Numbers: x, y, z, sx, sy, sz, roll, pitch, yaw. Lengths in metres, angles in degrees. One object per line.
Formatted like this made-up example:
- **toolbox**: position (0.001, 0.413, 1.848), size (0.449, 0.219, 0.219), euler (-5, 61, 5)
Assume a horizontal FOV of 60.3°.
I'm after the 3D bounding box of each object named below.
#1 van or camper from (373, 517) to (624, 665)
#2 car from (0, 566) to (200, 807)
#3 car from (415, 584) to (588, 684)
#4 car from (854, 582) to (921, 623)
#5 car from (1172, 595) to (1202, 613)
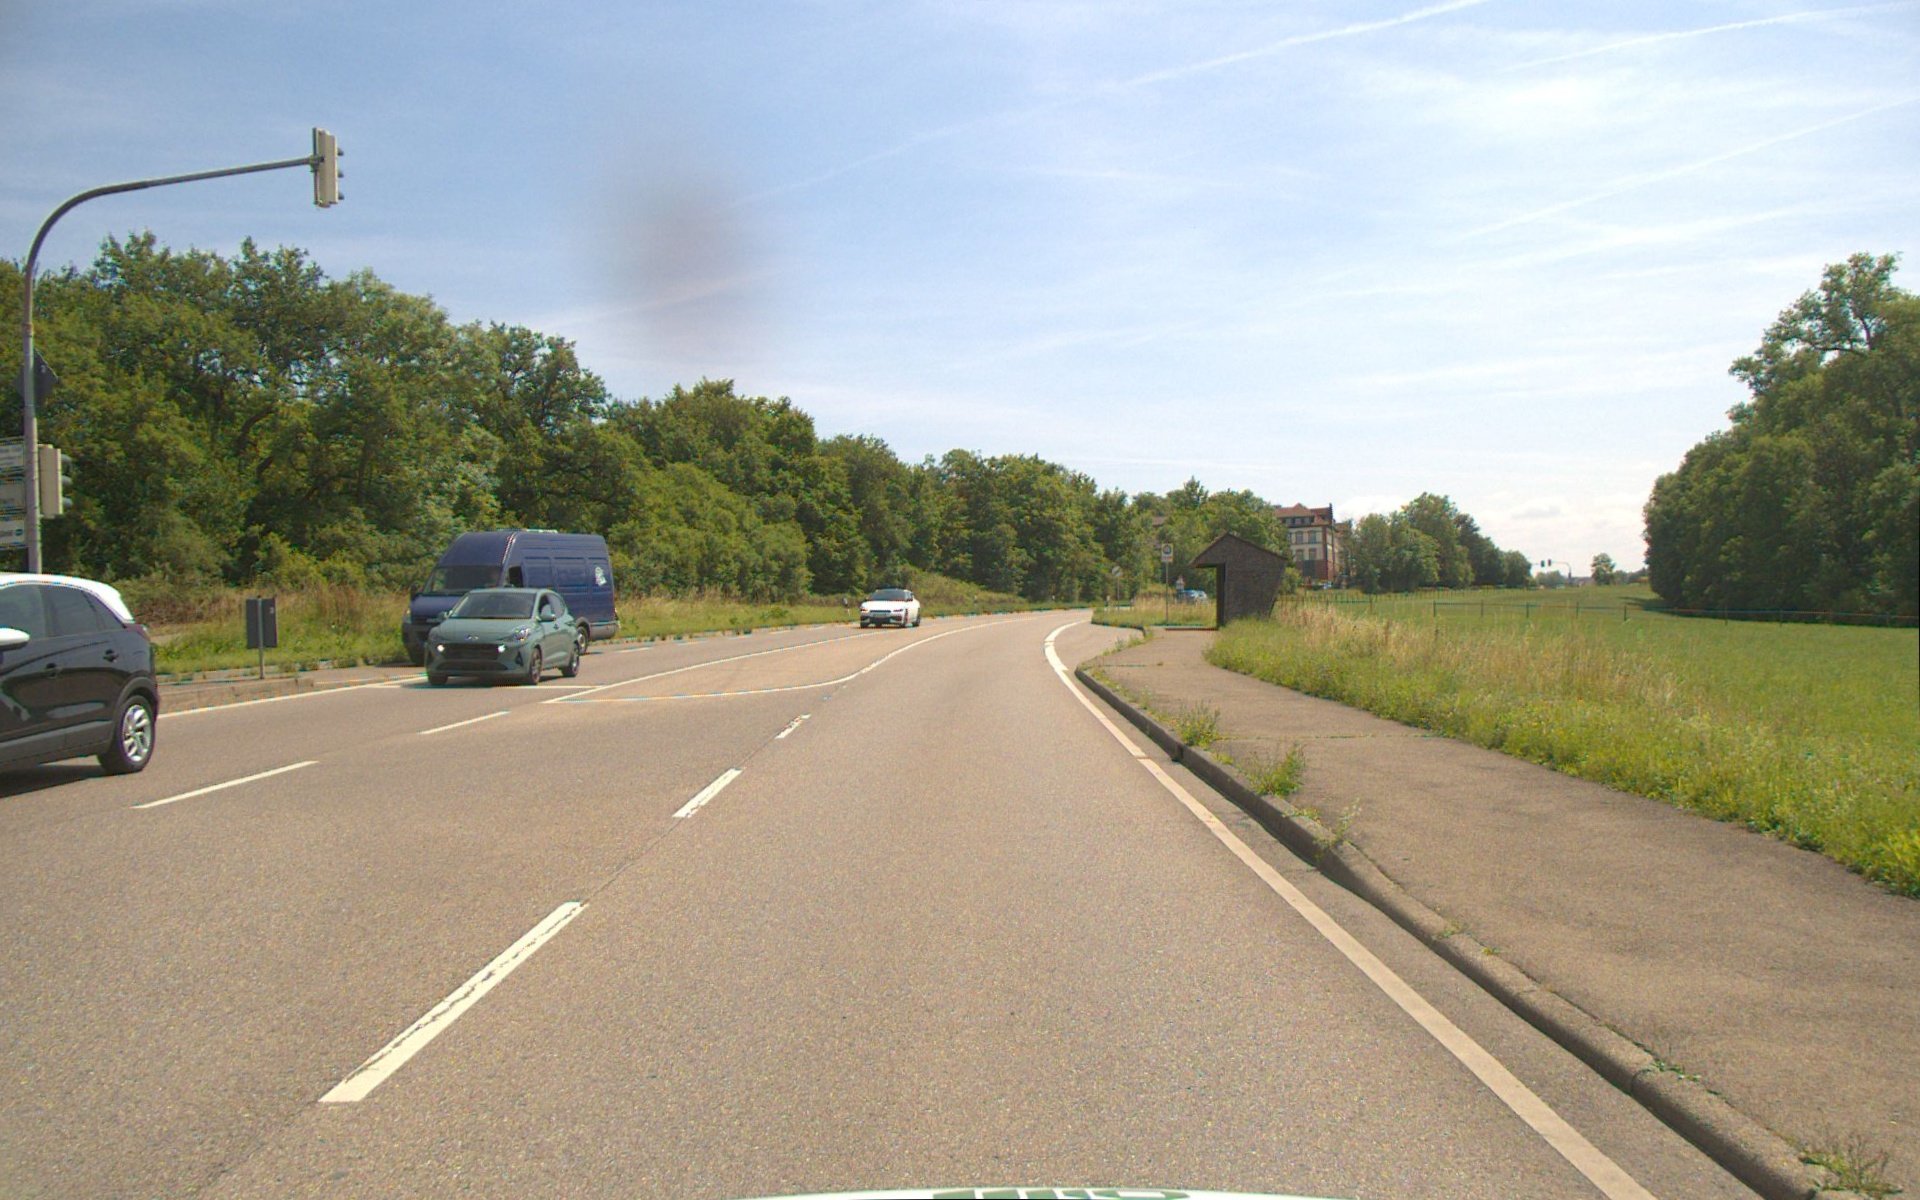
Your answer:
- **van or camper**: position (-10.021, -0.283, 36.834), size (2.192, 2.964, 7.254), euler (0, 2, 12)
- **car**: position (-7.324, 0.567, 11.803), size (1.934, 1.589, 4.188), euler (0, 0, -1)
- **car**: position (-7.323, 0.505, 26.768), size (1.671, 1.509, 3.833), euler (0, 0, 1)
- **car**: position (-2.926, 0.088, 67.614), size (1.896, 1.575, 4.631), euler (0, 0, 8)
- **car**: position (20.456, 0.385, 148.813), size (1.952, 1.601, 4.001), euler (0, 0, 19)
